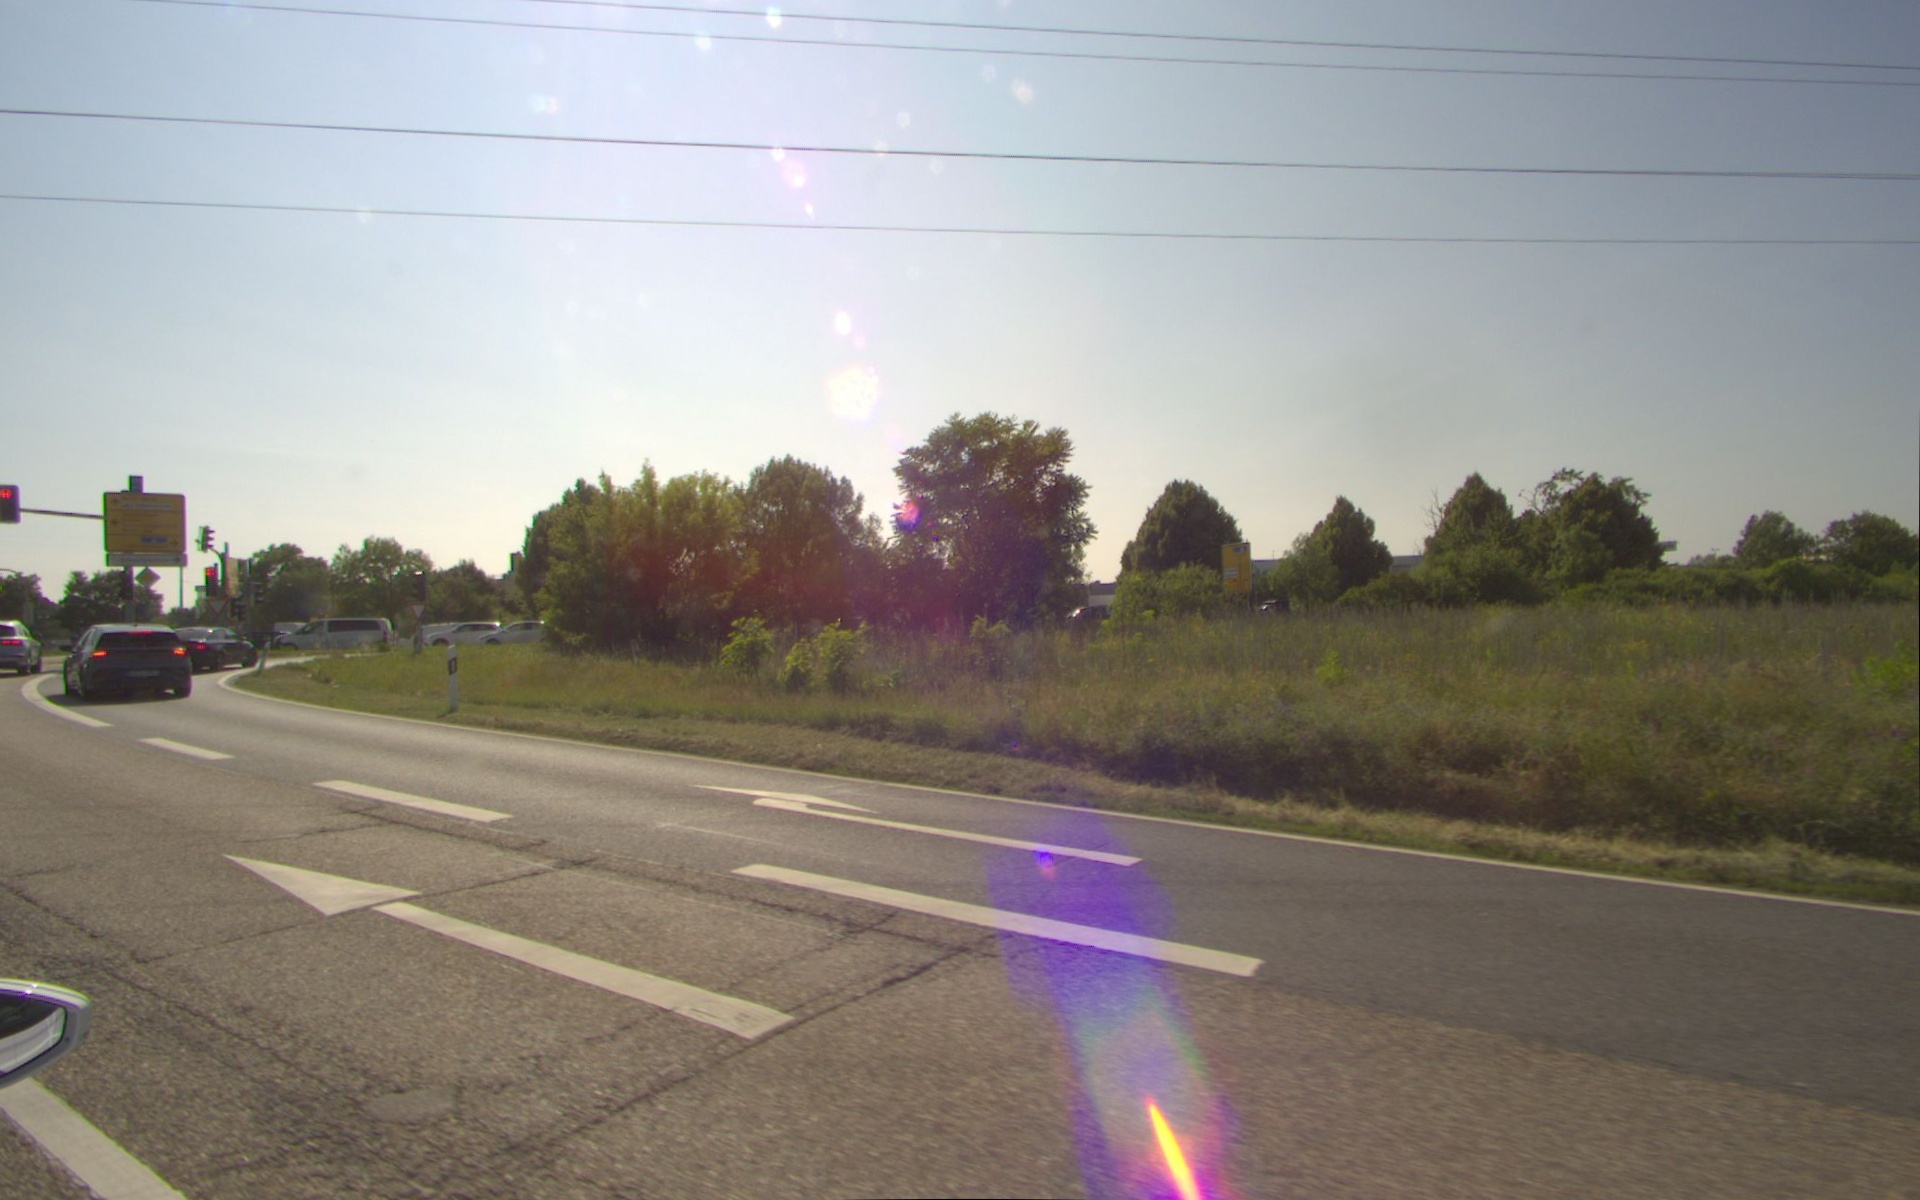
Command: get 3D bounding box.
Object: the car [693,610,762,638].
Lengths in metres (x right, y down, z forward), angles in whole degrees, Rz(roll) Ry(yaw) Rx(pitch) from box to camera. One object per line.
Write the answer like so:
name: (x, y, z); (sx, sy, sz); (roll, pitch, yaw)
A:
car: (-13.829, 1.412, 59.431); (3.814, 1.539, 1.804); (-1, -1, -20)

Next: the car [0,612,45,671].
car: (-29.279, 1.261, 30.666); (1.620, 1.698, 3.720); (1, -2, -39)

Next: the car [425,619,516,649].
car: (-26.668, 1.831, 54.715); (4.262, 1.539, 1.803); (-1, -1, -21)

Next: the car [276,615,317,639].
car: (-62.225, 2.569, 93.970); (1.902, 2.164, 4.634); (1, -2, -17)

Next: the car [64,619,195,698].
car: (-18.059, 1.180, 21.718); (4.056, 1.537, 1.763); (-1, -1, 44)

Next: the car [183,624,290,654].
car: (-36.708, 1.964, 50.917); (4.032, 1.434, 1.713); (0, -1, -18)

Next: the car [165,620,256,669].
car: (-24.251, 1.393, 32.545); (1.621, 1.404, 3.984); (-1, 0, -26)

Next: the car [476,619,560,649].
car: (-22.972, 1.741, 52.159); (3.845, 1.484, 1.720); (0, -1, -19)

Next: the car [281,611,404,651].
car: (-30.640, 1.559, 49.886); (4.865, 1.943, 1.995); (1, -1, -21)
